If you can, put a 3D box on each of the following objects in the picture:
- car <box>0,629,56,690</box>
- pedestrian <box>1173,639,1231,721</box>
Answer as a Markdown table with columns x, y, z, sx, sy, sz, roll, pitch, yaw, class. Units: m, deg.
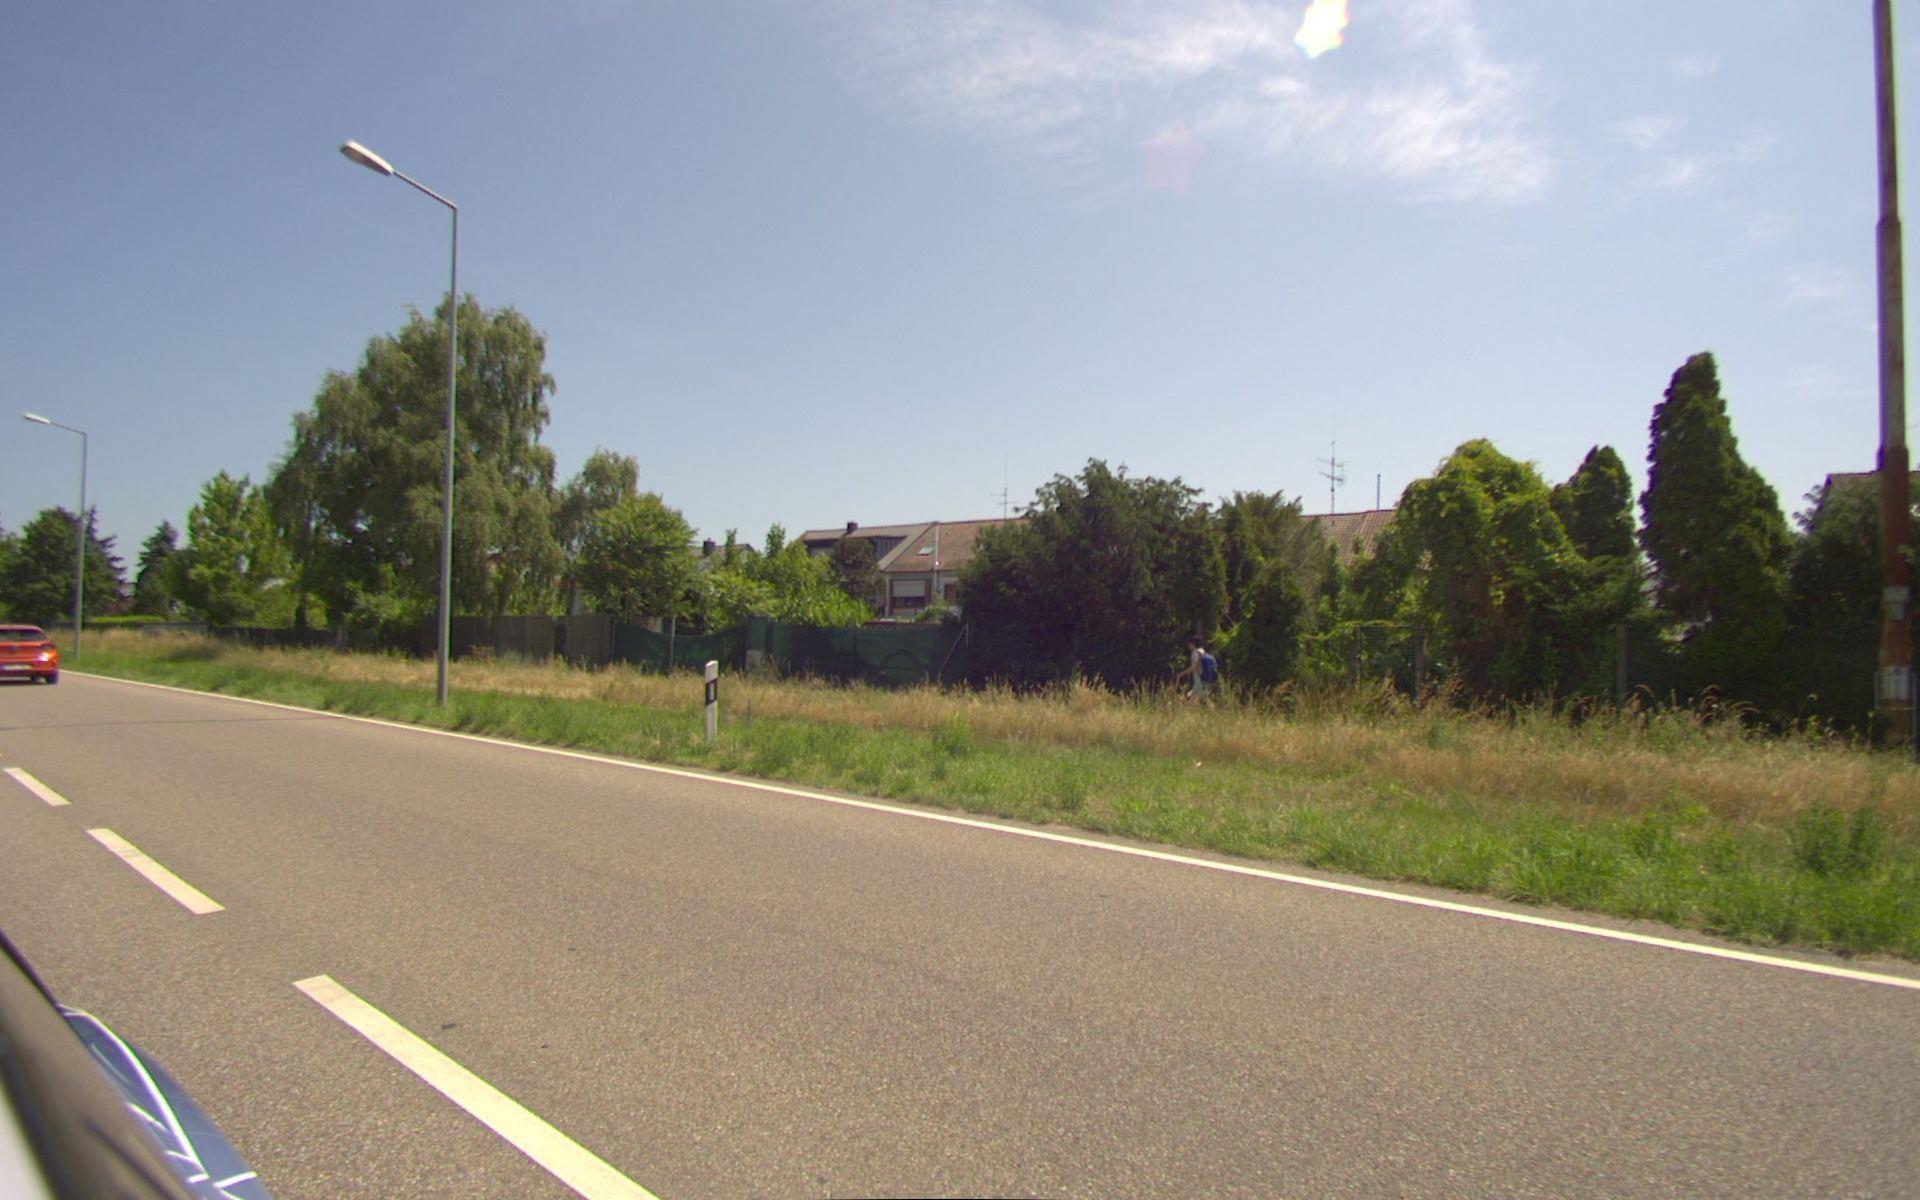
| x | y | z | sx | sy | sz | roll | pitch | yaw | class |
| --- | --- | --- | --- | --- | --- | --- | --- | --- | --- |
| -23.754 | 1.416 | 24.853 | 3.995 | 1.409 | 1.663 | -1 | -3 | 39 | car |
| 4.156 | 1.355 | 17.397 | 0.798 | 1.365 | 0.575 | -2 | -3 | 41 | pedestrian |
